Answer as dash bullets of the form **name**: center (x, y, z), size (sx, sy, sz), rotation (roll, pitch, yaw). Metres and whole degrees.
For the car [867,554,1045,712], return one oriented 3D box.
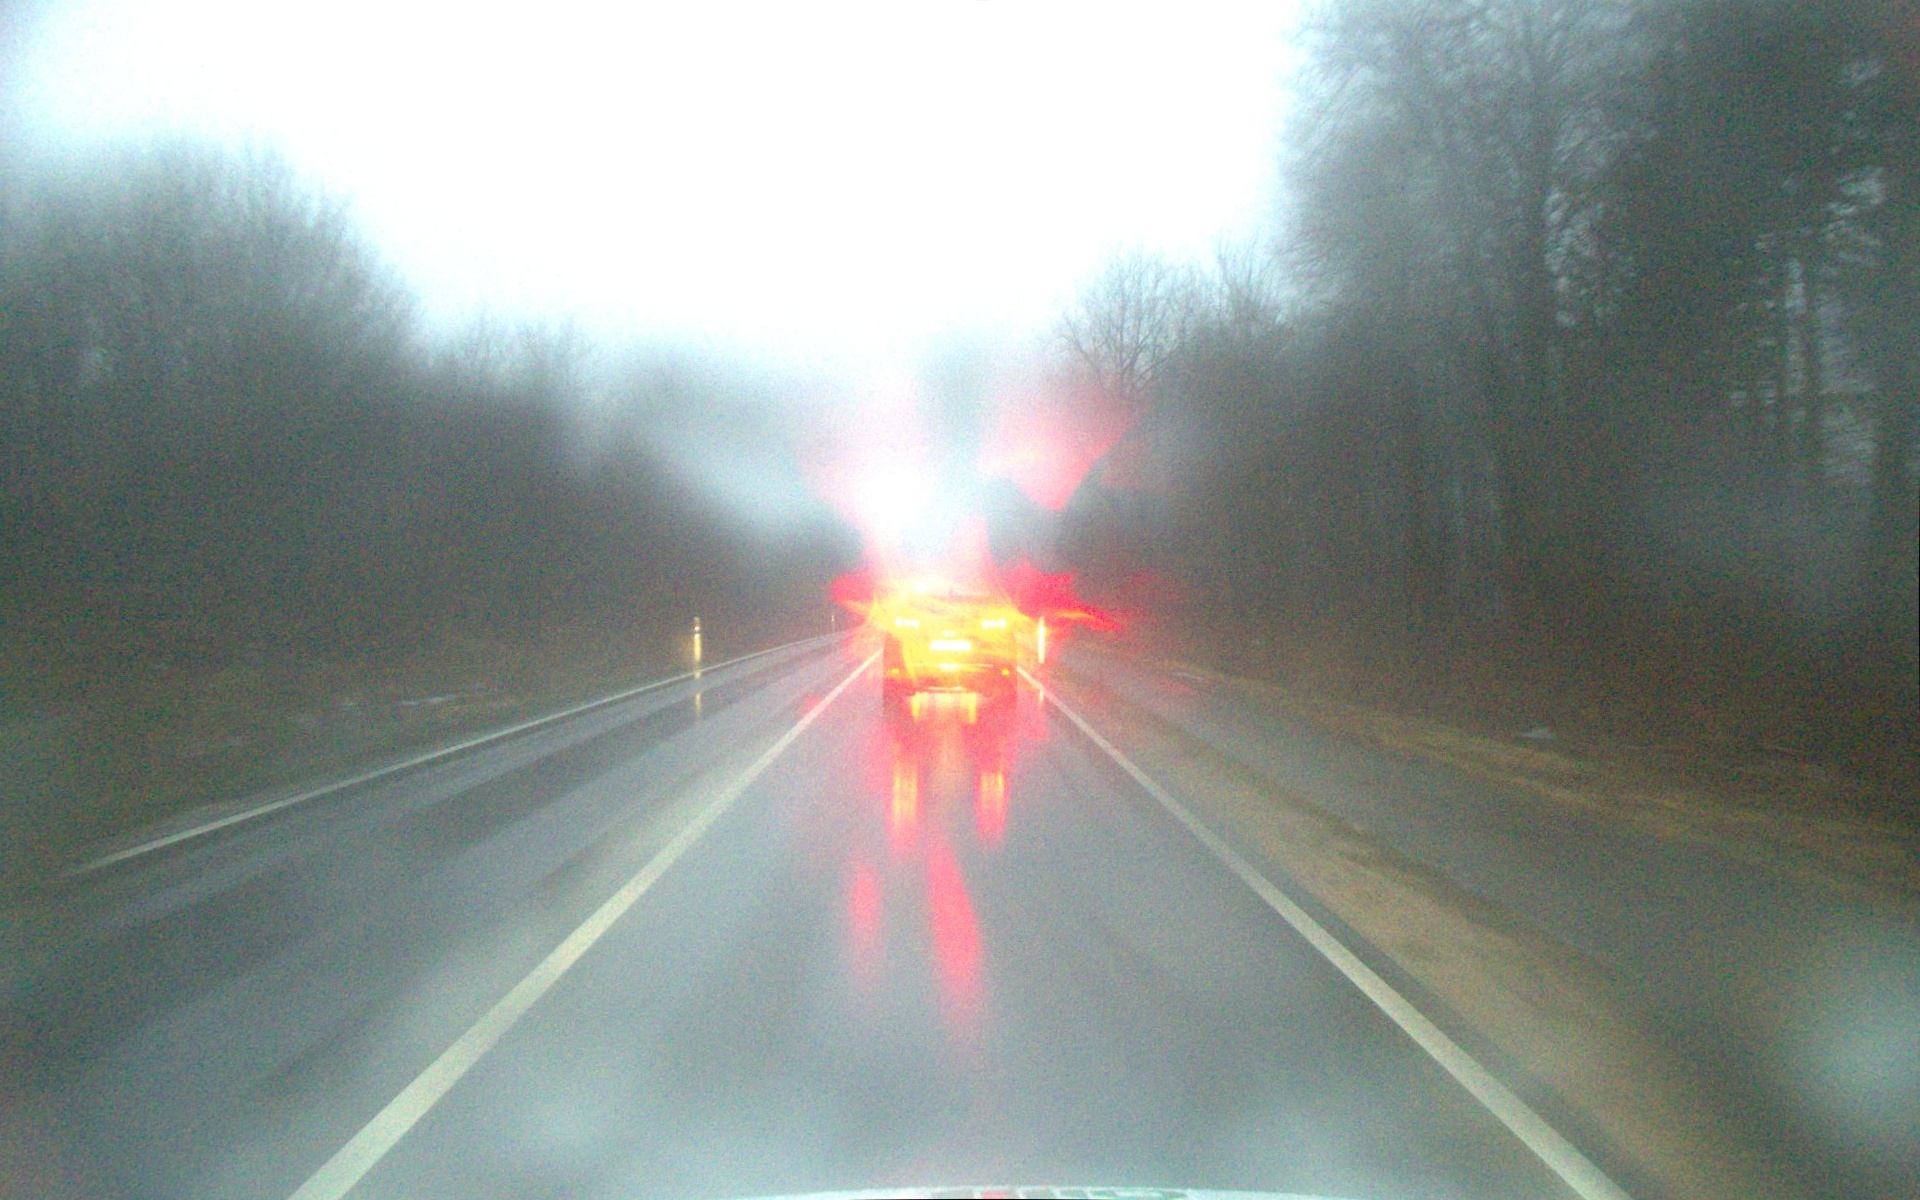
- **car**: center (-0.099, 0.396, 22.777), size (2.153, 1.910, 4.826), rotation (1, 0, -1)
